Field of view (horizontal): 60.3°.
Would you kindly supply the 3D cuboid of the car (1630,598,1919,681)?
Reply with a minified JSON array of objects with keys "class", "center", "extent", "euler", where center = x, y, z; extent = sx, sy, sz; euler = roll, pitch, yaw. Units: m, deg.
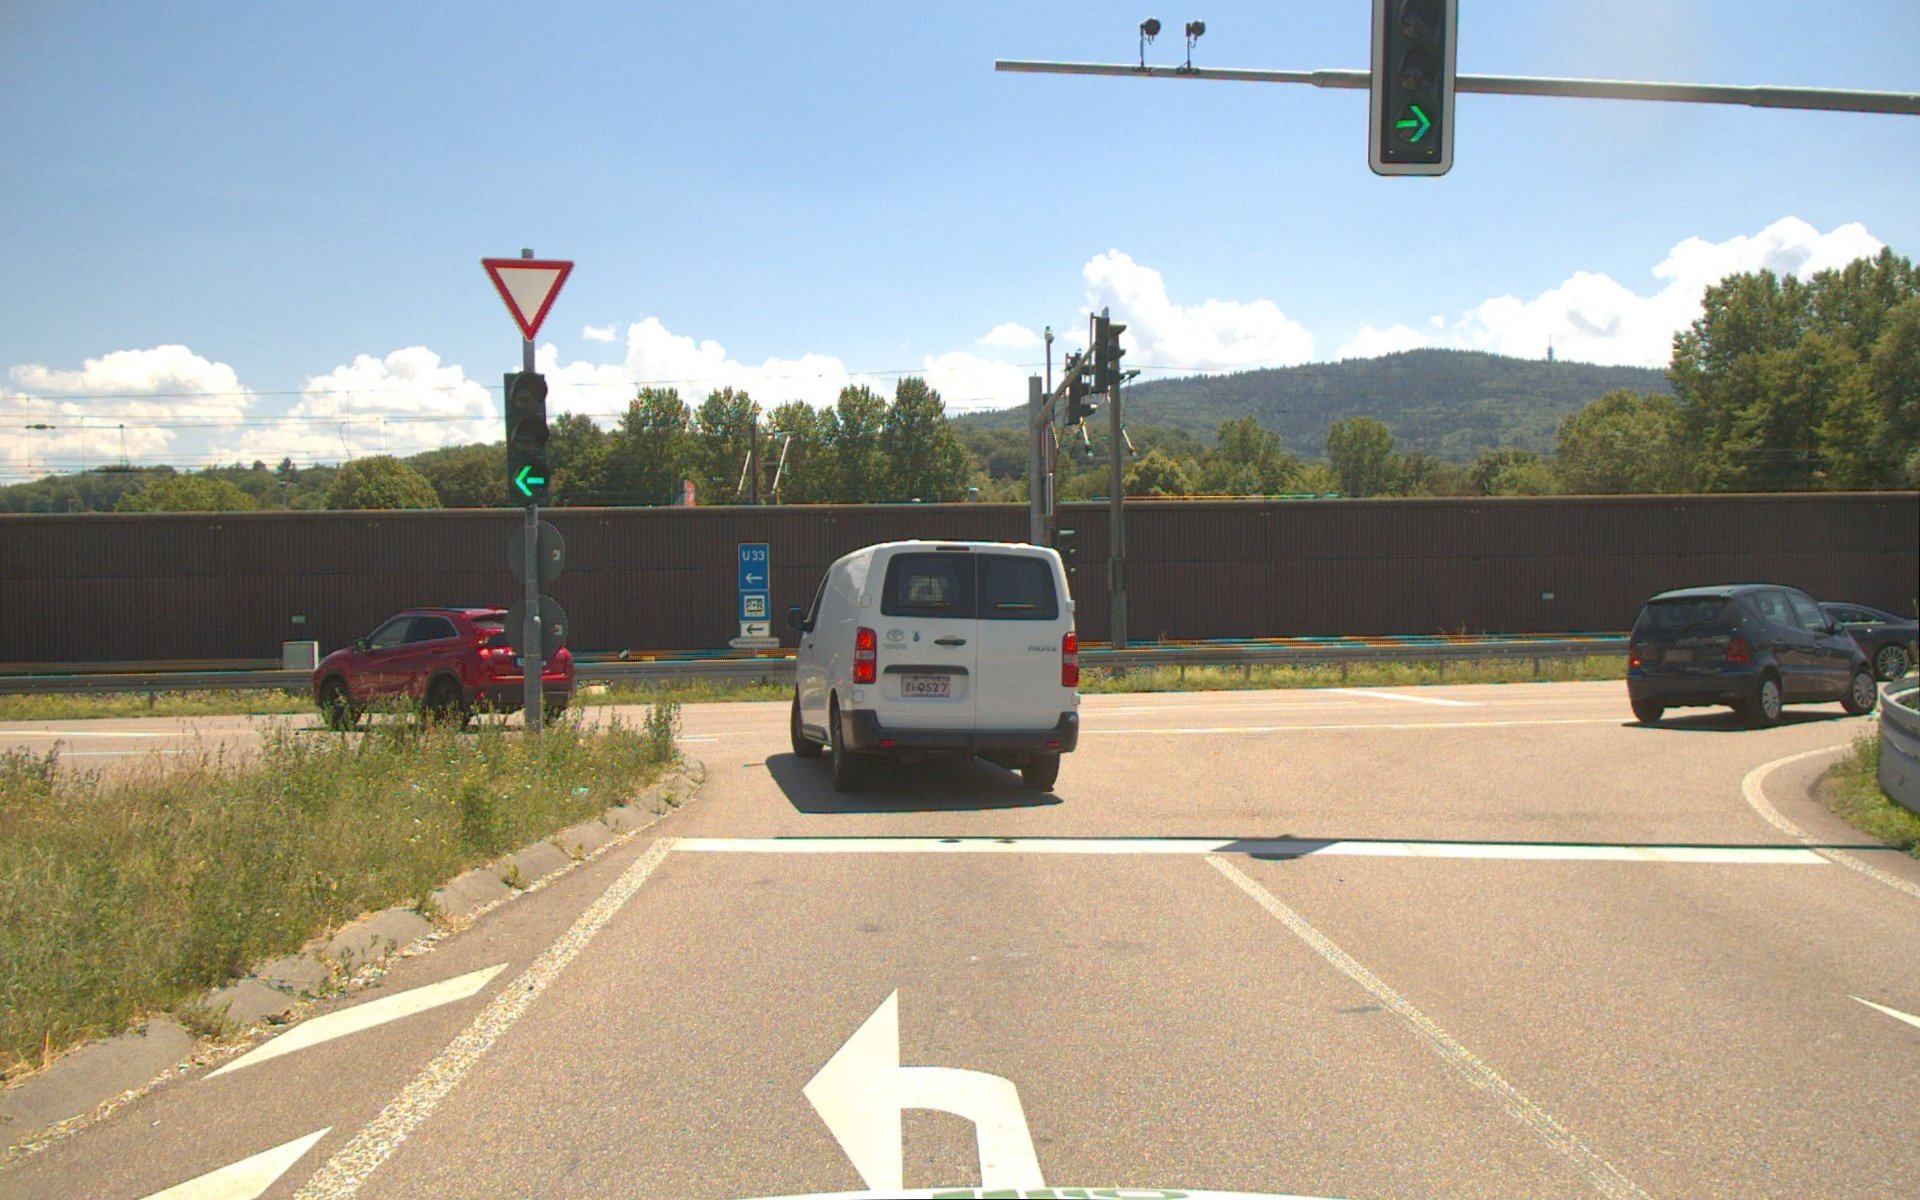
[{"class":"car","center":[14.934,0.716,30.285],"extent":[4.541,1.388,1.911],"euler":[-1,-1,-4]}]

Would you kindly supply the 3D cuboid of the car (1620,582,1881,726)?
[{"class":"car","center":[9.822,0.612,20.476],"extent":[3.527,1.625,1.620],"euler":[0,0,-40]}]

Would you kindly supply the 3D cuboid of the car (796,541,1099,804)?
[{"class":"car","center":[-0.311,0.533,14.619],"extent":[1.910,1.914,4.869],"euler":[0,0,-10]}]

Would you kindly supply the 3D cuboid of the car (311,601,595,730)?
[{"class":"car","center":[-7.260,0.928,23.524],"extent":[4.061,1.678,1.903],"euler":[-3,-2,39]}]
